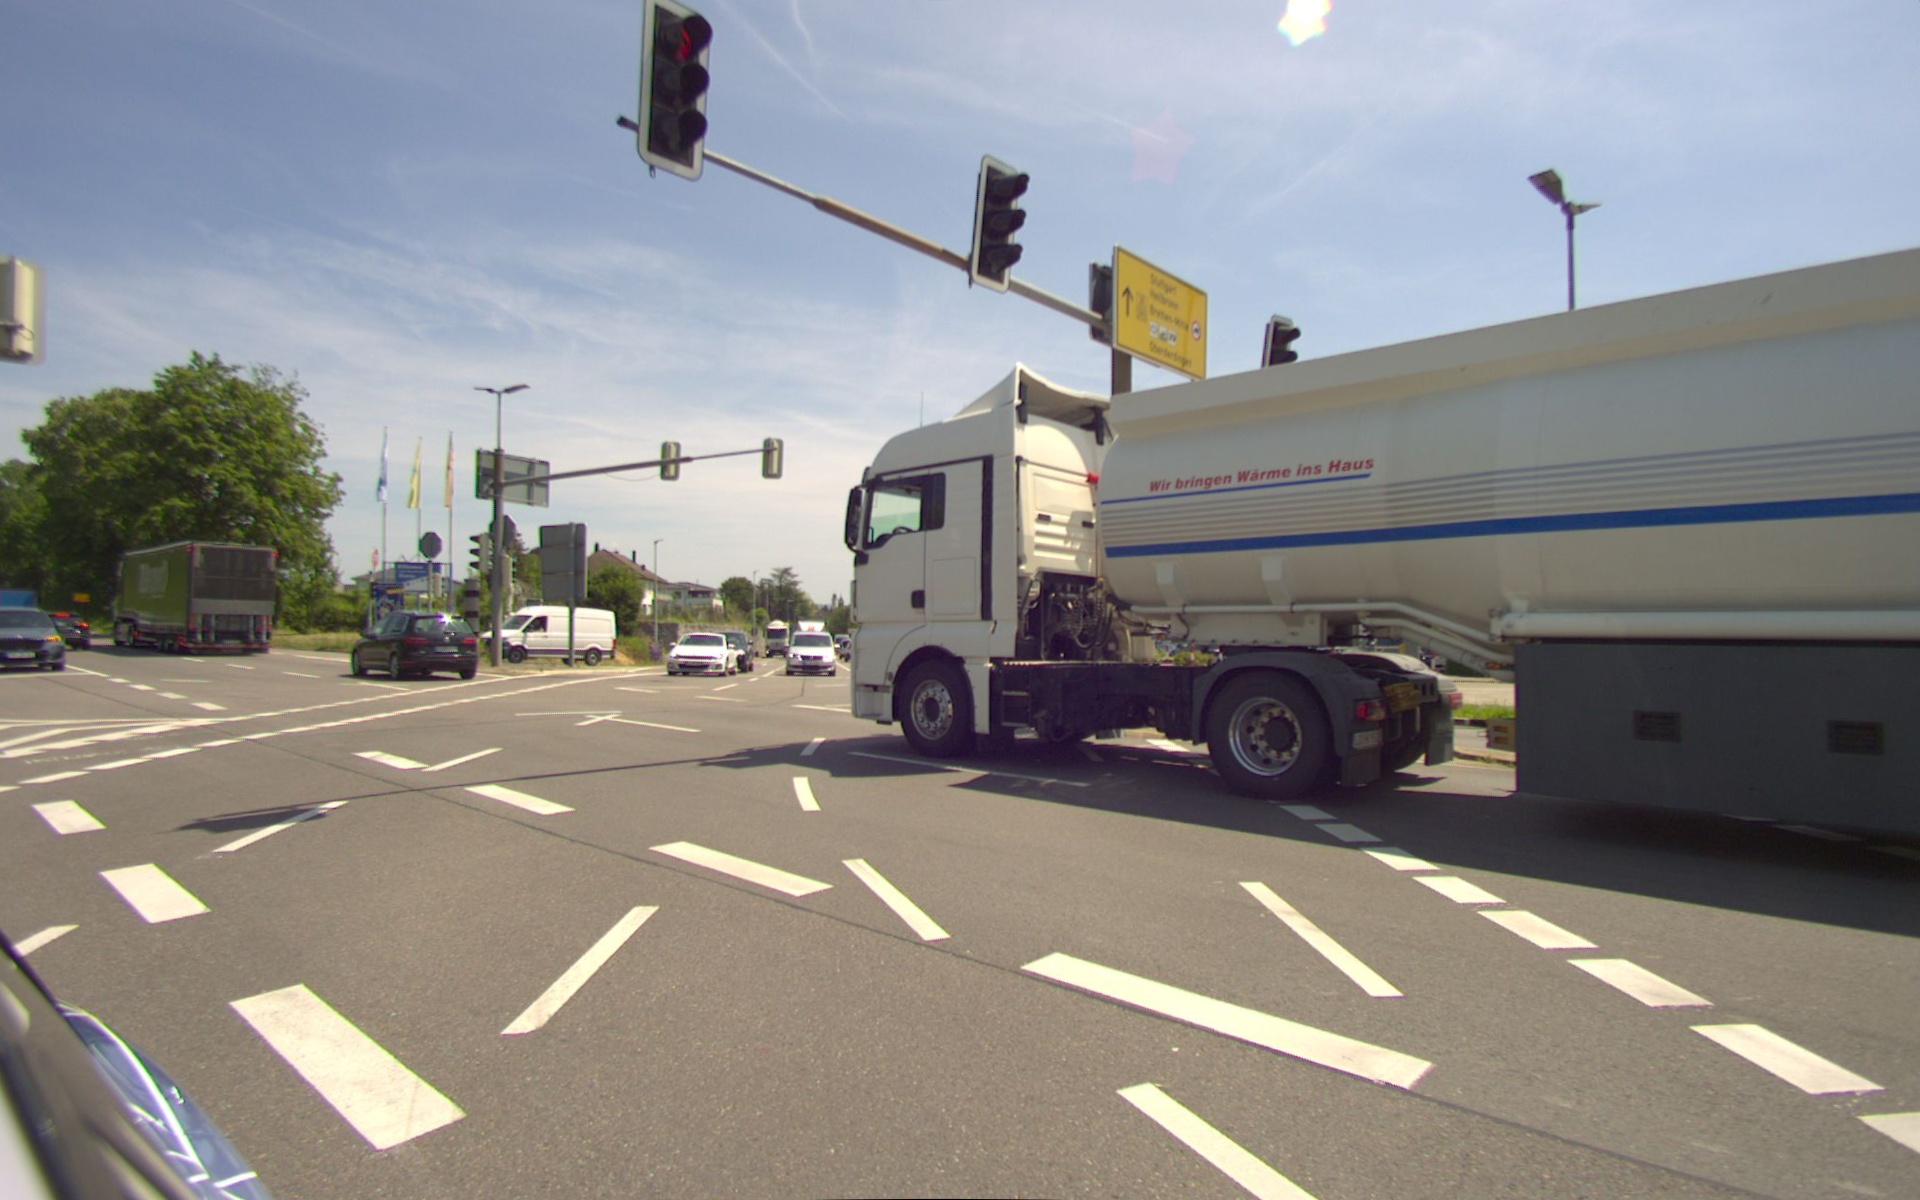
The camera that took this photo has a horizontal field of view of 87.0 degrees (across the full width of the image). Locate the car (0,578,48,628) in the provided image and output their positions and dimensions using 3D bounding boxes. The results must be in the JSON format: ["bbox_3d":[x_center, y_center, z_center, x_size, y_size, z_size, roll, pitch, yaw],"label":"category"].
[{"bbox_3d":[-80.693,0.356,86.925,3.303,4.111,7.700,2,-2,-43],"label":"car"}]

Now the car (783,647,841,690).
[{"bbox_3d":[-5.271,2.443,36.526,1.894,1.432,4.005,2,-3,-6],"label":"car"}]

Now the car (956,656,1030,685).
[{"bbox_3d":[1.895,4.089,59.041,3.934,1.586,2.005,2,-3,-12],"label":"car"}]

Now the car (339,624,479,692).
[{"bbox_3d":[-13.145,1.343,24.050,4.155,1.439,1.665,-1,-4,44],"label":"car"}]

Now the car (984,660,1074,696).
[{"bbox_3d":[3.320,3.771,49.152,3.934,1.586,2.005,2,-3,-12],"label":"car"}]

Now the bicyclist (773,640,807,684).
[{"bbox_3d":[-7.043,2.553,41.948,1.054,1.783,0.956,-1,-2,41],"label":"bicyclist"}]

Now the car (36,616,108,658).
[{"bbox_3d":[-35.233,1.436,40.128,3.956,1.509,1.665,-1,-5,43],"label":"car"}]

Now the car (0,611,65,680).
[{"bbox_3d":[-24.094,1.092,25.477,4.510,1.622,1.902,-1,-2,43],"label":"car"}]

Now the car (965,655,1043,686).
[{"bbox_3d":[2.425,3.931,56.514,3.934,1.586,2.005,2,-3,-12],"label":"car"}]

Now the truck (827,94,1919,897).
[{"bbox_3d":[4.948,-0.487,6.746,15.132,4.049,2.576,-1,-3,44],"label":"truck"}]

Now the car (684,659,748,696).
[{"bbox_3d":[-9.429,2.981,39.386,1.894,1.324,4.005,2,-3,-6],"label":"car"}]

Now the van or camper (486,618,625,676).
[{"bbox_3d":[-17.929,2.060,45.126,2.095,2.431,5.397,-1,-2,39],"label":"van or camper"}]

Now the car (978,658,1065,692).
[{"bbox_3d":[3.079,3.789,51.062,3.934,1.586,2.005,2,-3,-12],"label":"car"}]

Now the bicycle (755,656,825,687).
[{"bbox_3d":[-7.042,2.943,41.876,3.125,1.179,1.116,-1,-3,41],"label":"bicycle"}]

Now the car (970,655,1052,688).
[{"bbox_3d":[2.696,3.819,54.193,3.934,1.586,2.005,2,-3,-12],"label":"car"}]

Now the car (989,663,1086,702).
[{"bbox_3d":[3.487,3.741,46.004,3.934,1.586,2.005,2,-3,-12],"label":"car"}]

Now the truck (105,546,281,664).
[{"bbox_3d":[-32.080,0.306,41.792,17.090,3.985,2.812,-1,-5,44],"label":"truck"}]

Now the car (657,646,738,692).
[{"bbox_3d":[-8.209,2.146,31.969,1.894,1.324,4.005,2,-3,-6],"label":"car"}]

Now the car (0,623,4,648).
[{"bbox_3d":[-62.830,2.217,65.050,3.956,1.509,1.665,-1,-5,43],"label":"car"}]

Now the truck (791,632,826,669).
[{"bbox_3d":[-14.197,4.784,95.348,2.956,3.245,9.628,2,-3,-8],"label":"truck"}]
